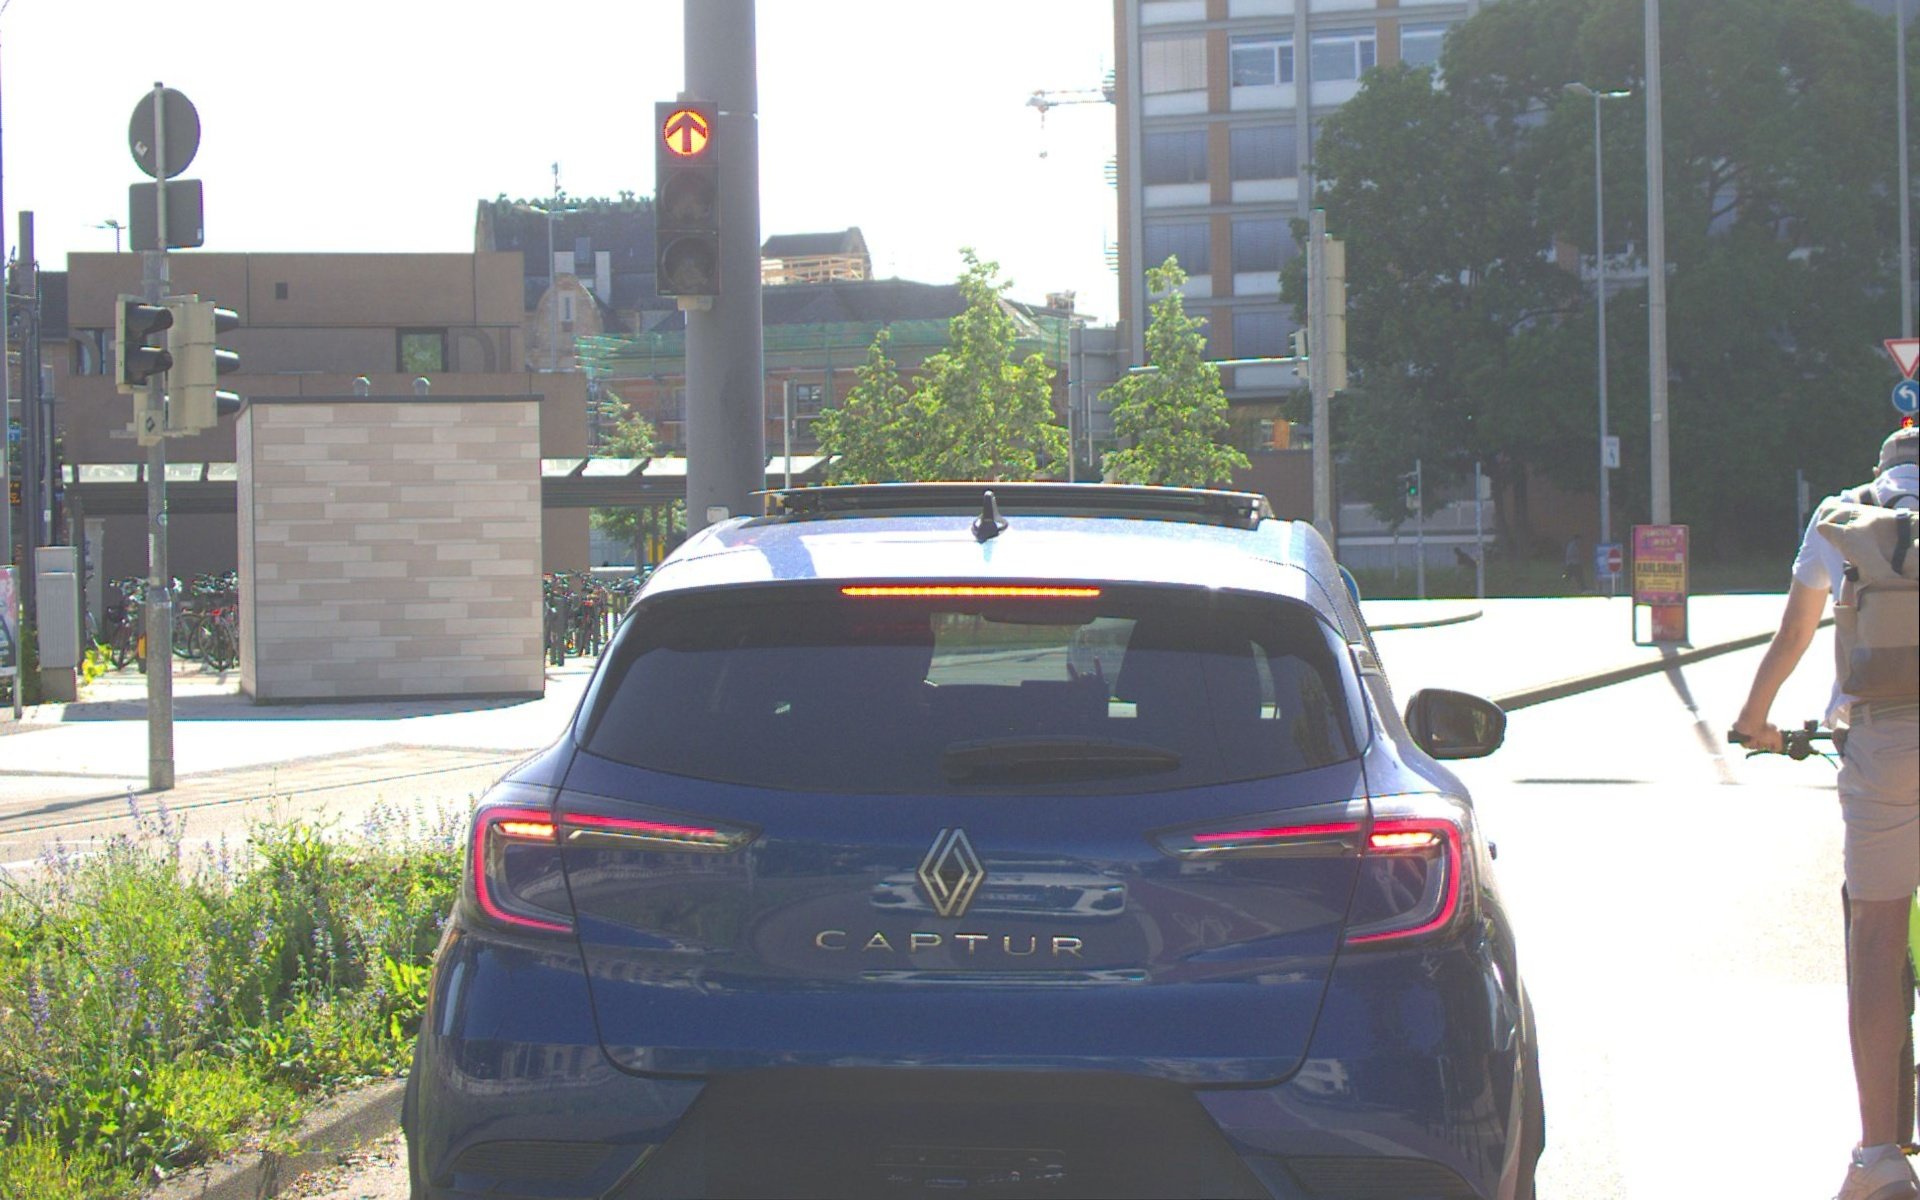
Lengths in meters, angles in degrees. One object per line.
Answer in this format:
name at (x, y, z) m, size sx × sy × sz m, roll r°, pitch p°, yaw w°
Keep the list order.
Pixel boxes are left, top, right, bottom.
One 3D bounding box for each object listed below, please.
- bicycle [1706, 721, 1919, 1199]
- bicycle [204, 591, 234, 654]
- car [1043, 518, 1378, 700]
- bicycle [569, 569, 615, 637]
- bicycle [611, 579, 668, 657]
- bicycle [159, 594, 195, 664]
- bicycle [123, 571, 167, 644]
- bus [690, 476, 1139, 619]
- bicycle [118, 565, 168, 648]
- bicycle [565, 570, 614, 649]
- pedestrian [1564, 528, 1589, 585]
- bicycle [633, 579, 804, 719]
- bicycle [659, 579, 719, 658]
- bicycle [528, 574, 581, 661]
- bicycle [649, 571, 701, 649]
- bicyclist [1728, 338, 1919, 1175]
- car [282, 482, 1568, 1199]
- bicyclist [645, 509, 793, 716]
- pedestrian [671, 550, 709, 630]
bicycle at (2.121, 0.844, 7.761) m, size 0.663 × 1.043 × 1.890 m, roll 0°, pitch 1°, yaw 7°
bicycle at (-11.352, 0.344, 52.669) m, size 0.421 × 0.934 × 1.379 m, roll 1°, pitch 0°, yaw -11°
car at (2.282, 0.036, 30.285) m, size 1.802 × 1.388 × 4.089 m, roll -1°, pitch 2°, yaw 21°
bicycle at (-6.022, 0.050, 56.183) m, size 0.580 × 1.084 × 1.872 m, roll 0°, pitch 0°, yaw -11°
bicycle at (-4.020, 0.227, 43.050) m, size 0.580 × 0.958 × 2.059 m, roll 0°, pitch 0°, yaw -9°
bicycle at (-10.854, 0.397, 47.646) m, size 0.421 × 0.934 × 1.306 m, roll 1°, pitch 0°, yaw -15°
bicycle at (-12.375, 0.117, 52.233) m, size 0.565 × 1.090 × 2.030 m, roll 0°, pitch 0°, yaw -11°
bus at (-1.335, -1.242, 86.770) m, size 12.434 × 3.384 × 2.876 m, roll 0°, pitch 0°, yaw 40°
bicycle at (-10.902, 0.092, 45.924) m, size 0.565 × 1.090 × 2.030 m, roll 0°, pitch 0°, yaw -11°
bicycle at (-5.260, 0.137, 48.709) m, size 0.580 × 1.084 × 2.059 m, roll 0°, pitch 0°, yaw -9°
pedestrian at (18.164, -1.290, 101.324) m, size 0.561 × 1.664 × 0.475 m, roll 0°, pitch -1°, yaw 37°
bicycle at (-1.947, 0.383, 28.038) m, size 0.773 × 1.077 × 2.034 m, roll -1°, pitch 0°, yaw 14°
bicycle at (-3.408, 0.230, 43.137) m, size 0.580 × 0.958 × 2.059 m, roll 0°, pitch 0°, yaw -9°
bicycle at (-5.037, 0.222, 42.674) m, size 0.580 × 1.054 × 1.817 m, roll 0°, pitch 0°, yaw -9°
bicycle at (-4.050, 0.141, 48.780) m, size 0.580 × 1.084 × 2.059 m, roll 0°, pitch 0°, yaw -9°
bicyclist at (2.103, 0.317, 7.641) m, size 0.664 × 1.741 × 1.005 m, roll 0°, pitch 1°, yaw 7°
car at (0.097, 0.606, 6.699) m, size 1.823 × 1.594 × 3.658 m, roll 1°, pitch 1°, yaw 5°
bicyclist at (-1.959, 0.098, 28.085) m, size 0.880 × 1.639 × 1.060 m, roll -1°, pitch 0°, yaw 14°
pedestrian at (-6.260, -0.226, 79.711) m, size 0.726 × 1.850 × 0.702 m, roll 0°, pitch 0°, yaw 8°
